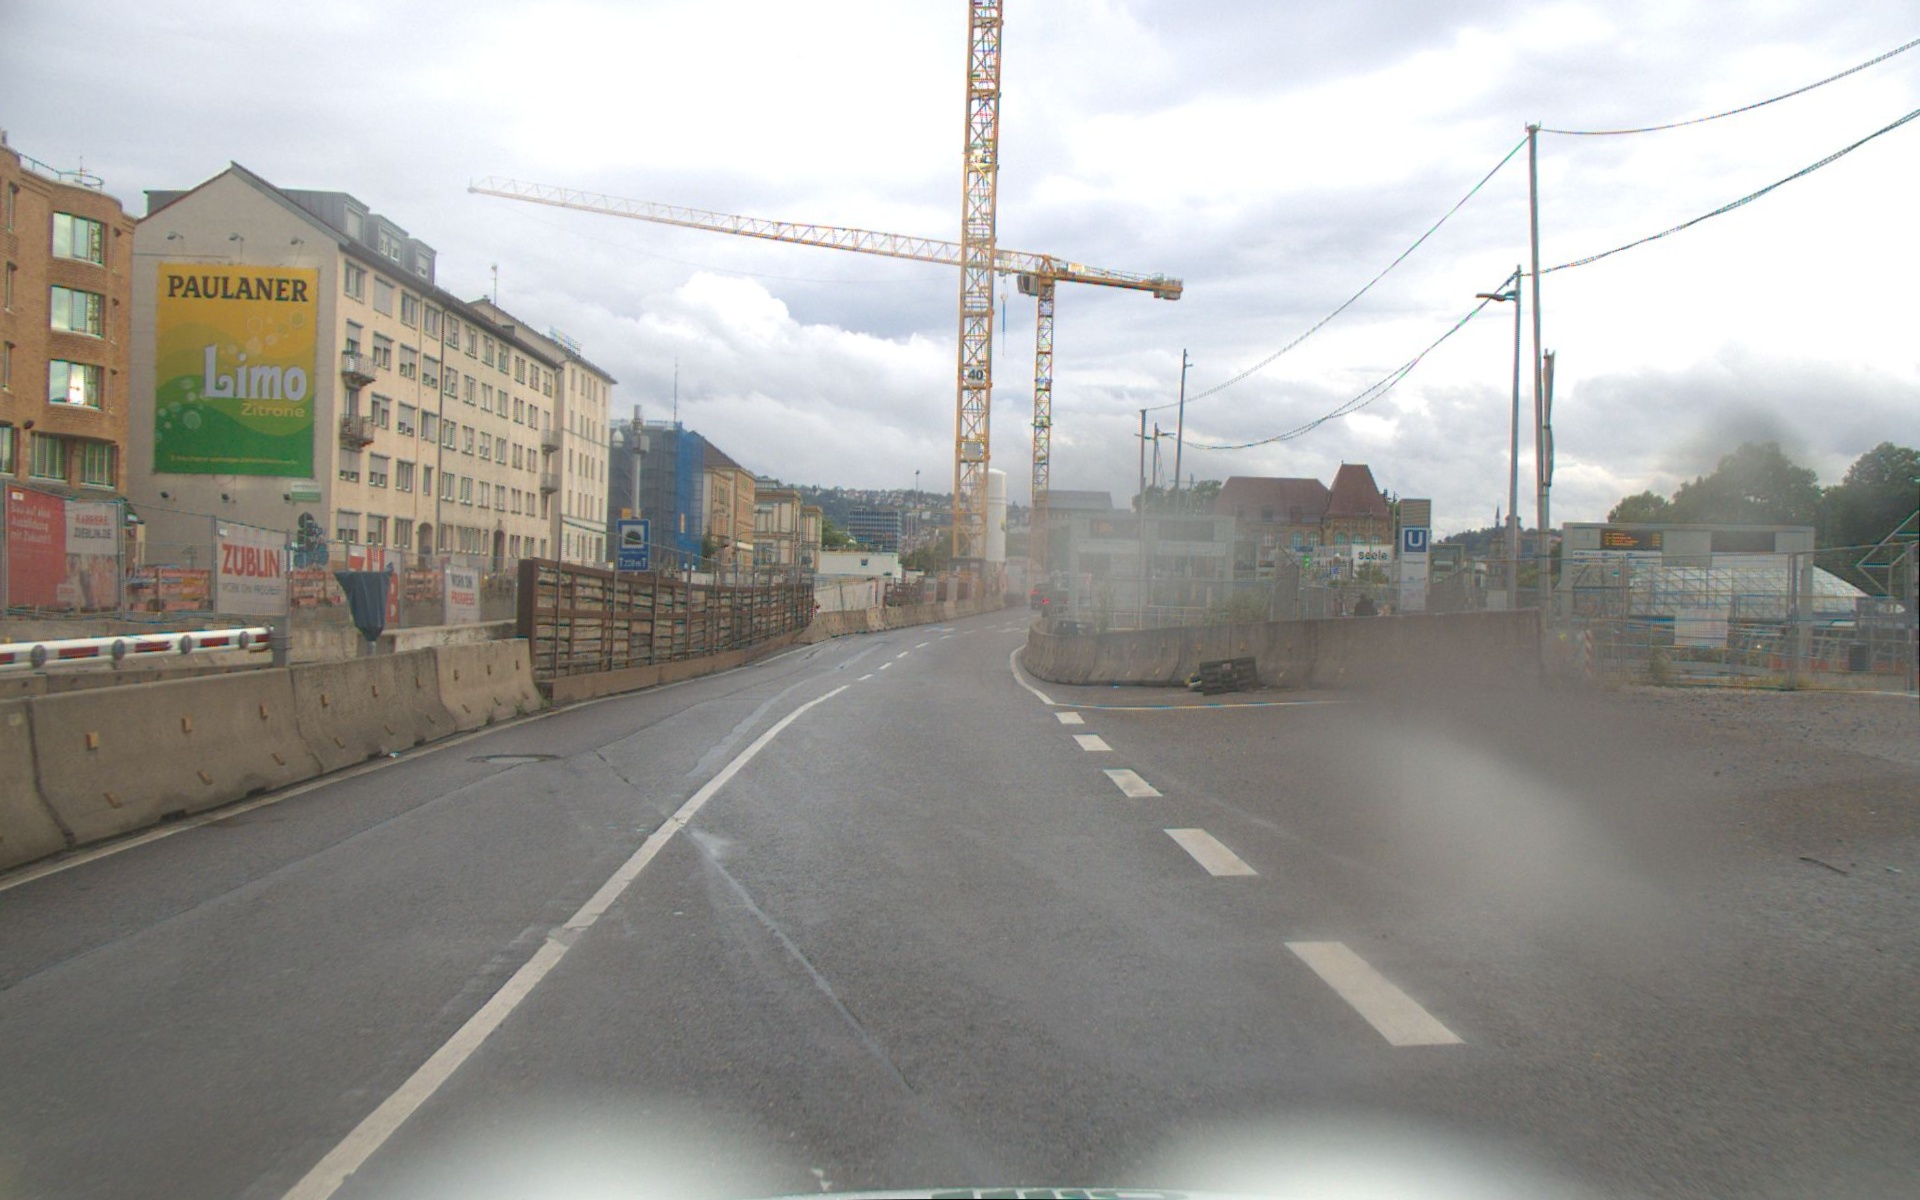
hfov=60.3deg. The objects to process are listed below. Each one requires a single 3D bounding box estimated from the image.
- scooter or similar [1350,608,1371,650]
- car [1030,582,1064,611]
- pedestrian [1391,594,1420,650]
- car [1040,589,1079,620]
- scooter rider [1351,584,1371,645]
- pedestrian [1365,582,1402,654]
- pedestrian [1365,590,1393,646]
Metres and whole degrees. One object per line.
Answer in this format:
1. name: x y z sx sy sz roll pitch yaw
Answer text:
1. scooter or similar: 11.827 0.847 48.793 0.480 1.200 1.096 1 1 19
2. car: 5.387 -0.245 101.806 1.823 1.689 4.659 2 1 5
3. pedestrian: 14.457 0.714 53.676 0.711 1.809 1.023 0 0 3
4. car: 4.938 0.205 81.687 1.823 1.458 4.659 0 0 5
5. scooter rider: 11.831 0.415 48.785 0.510 1.786 0.699 0 1 19
6. pedestrian: 10.845 0.453 42.350 0.676 1.809 0.815 1 0 -5
7. pedestrian: 13.594 0.577 53.726 0.675 1.809 1.023 0 0 2
